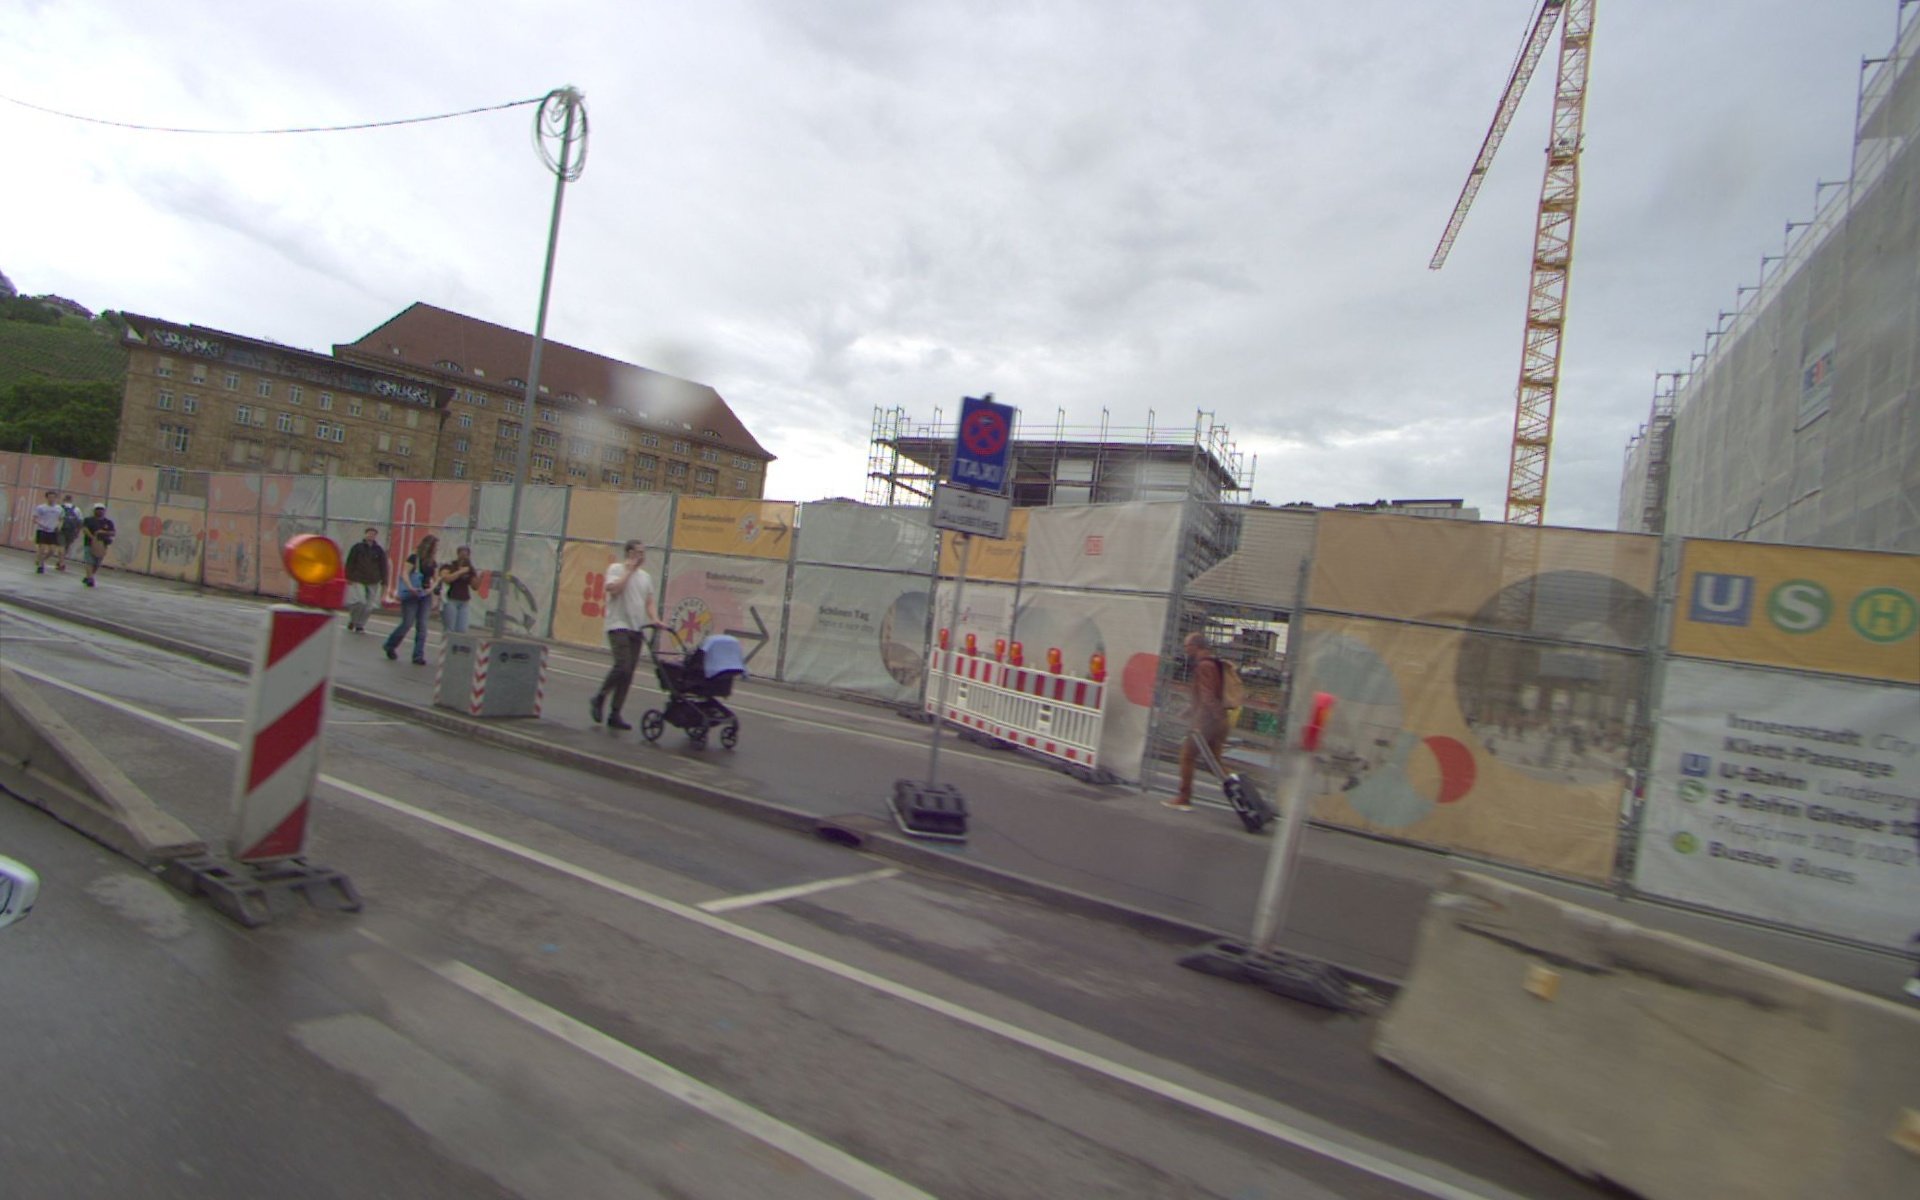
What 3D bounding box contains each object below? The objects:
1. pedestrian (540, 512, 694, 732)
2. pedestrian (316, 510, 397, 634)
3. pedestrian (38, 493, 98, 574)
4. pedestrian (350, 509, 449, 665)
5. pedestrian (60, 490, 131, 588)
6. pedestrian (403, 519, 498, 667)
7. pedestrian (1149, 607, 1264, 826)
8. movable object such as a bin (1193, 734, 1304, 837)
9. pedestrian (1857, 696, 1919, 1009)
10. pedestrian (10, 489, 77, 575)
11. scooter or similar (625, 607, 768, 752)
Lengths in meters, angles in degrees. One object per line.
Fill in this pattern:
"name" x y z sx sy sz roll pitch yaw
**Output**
"pedestrian" -3.425 0.228 10.074 0.956 2.040 0.804 7 -1 33
"pedestrian" -9.892 -0.454 16.501 0.681 1.911 0.685 7 -1 29
"pedestrian" -22.657 -1.693 25.562 0.974 1.888 0.705 7 -1 32
"pedestrian" -7.321 -0.166 13.154 0.682 1.911 0.684 7 -1 33
"pedestrian" -16.713 -1.177 19.451 0.823 1.761 0.644 7 -1 30
"pedestrian" -6.972 -0.087 13.776 0.682 1.911 0.684 7 -1 33
"pedestrian" 2.347 1.086 9.542 0.643 1.917 0.768 7 -1 32
"movable object such as a bin" 2.601 1.648 9.058 0.764 0.743 0.598 7 -1 29
"pedestrian" 6.382 1.617 6.430 0.651 1.917 0.850 7 -1 32
"pedestrian" -20.462 -1.513 22.462 0.892 1.761 0.685 7 -1 29
"scooter or similar" -2.518 0.755 9.618 1.027 1.212 0.666 7 -1 33
